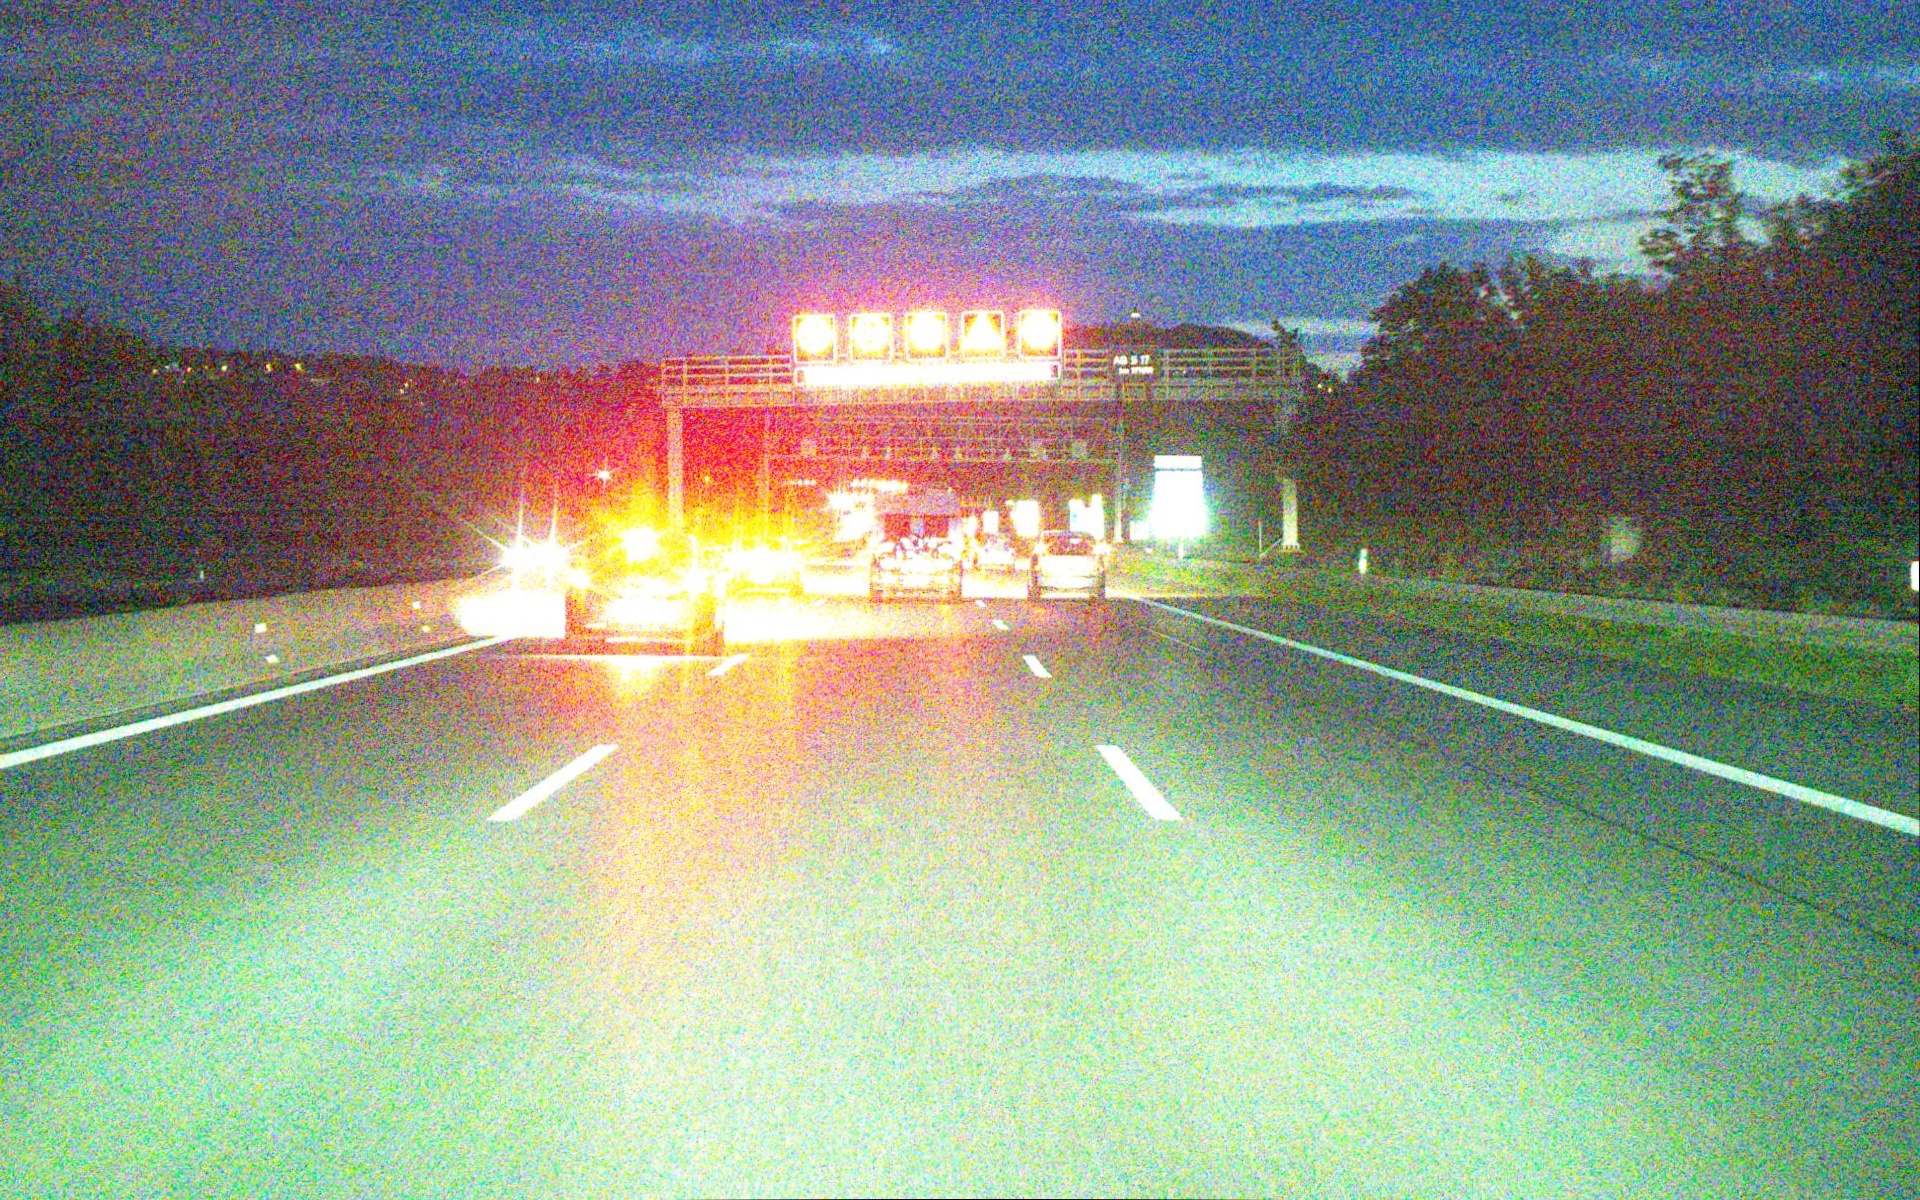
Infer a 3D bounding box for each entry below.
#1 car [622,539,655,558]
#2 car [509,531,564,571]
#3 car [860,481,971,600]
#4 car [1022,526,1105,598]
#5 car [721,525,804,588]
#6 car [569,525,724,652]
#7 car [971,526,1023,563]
[{"bbox_3d":[-22.718,-3.668,242.907,1.903,1.278,4.350,-1,1,0],"label":"car"},{"bbox_3d":[-17.887,-2.078,145.297,1.903,1.612,4.404,-1,1,-2],"label":"car"},{"bbox_3d":[-0.956,-1.337,76.222,2.351,2.526,5.701,0,1,0],"label":"car"},{"bbox_3d":[2.349,-0.883,78.945,1.646,1.591,4.510,1,1,-1],"label":"car"},{"bbox_3d":[-4.703,-1.057,82.406,1.744,1.435,4.368,0,1,0],"label":"car"},{"bbox_3d":[-3.829,-0.171,42.382,1.793,1.464,3.773,1,1,-4],"label":"car"},{"bbox_3d":[1.595,-2.402,148.404,2.163,1.558,4.723,0,1,0],"label":"car"}]
